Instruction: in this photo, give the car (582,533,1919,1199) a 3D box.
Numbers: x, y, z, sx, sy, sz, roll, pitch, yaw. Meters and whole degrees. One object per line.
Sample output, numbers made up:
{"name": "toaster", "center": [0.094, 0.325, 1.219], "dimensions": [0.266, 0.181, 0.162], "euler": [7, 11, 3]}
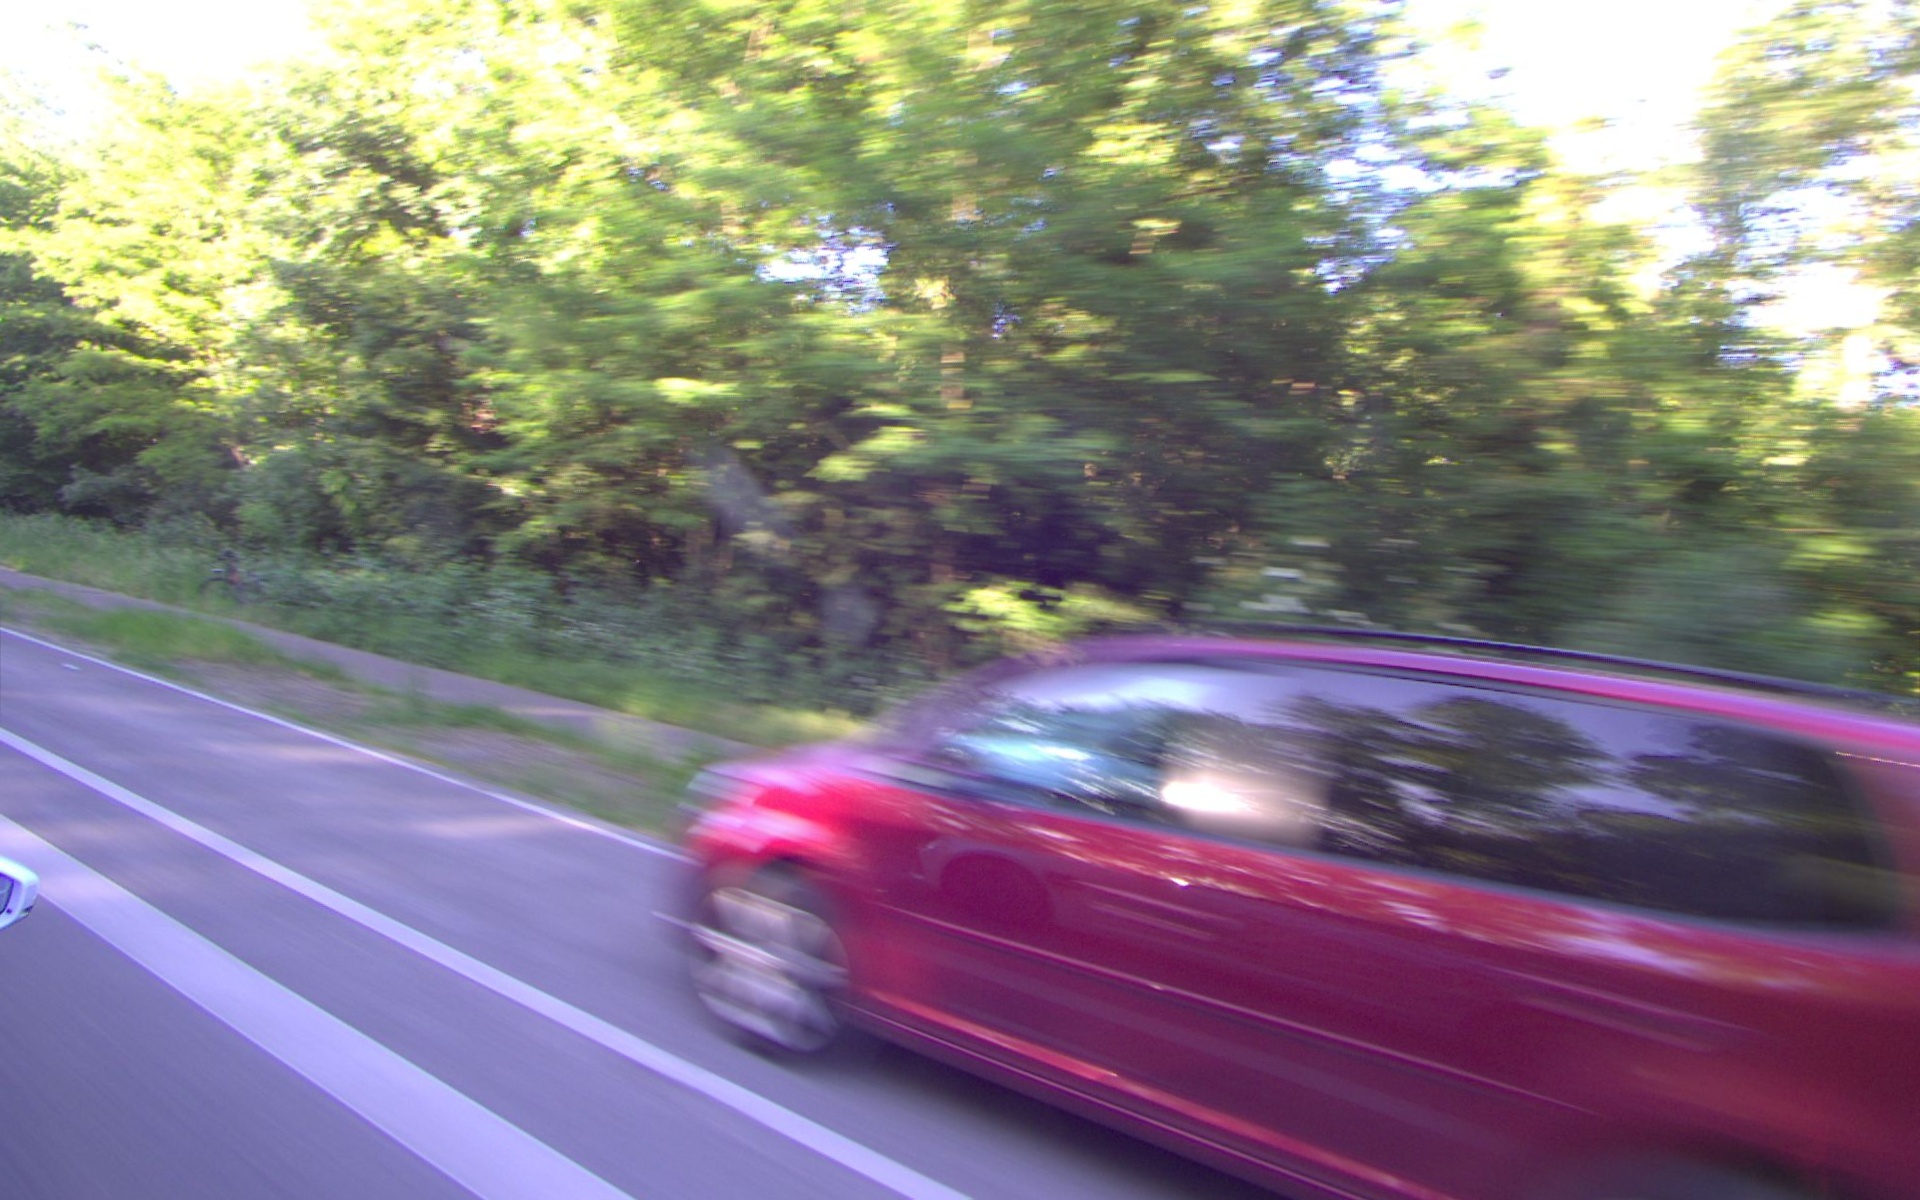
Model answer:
{"name": "car", "center": [0.970, 0.894, 3.415], "dimensions": [4.266, 1.679, 1.838], "euler": [7, -2, 32]}
